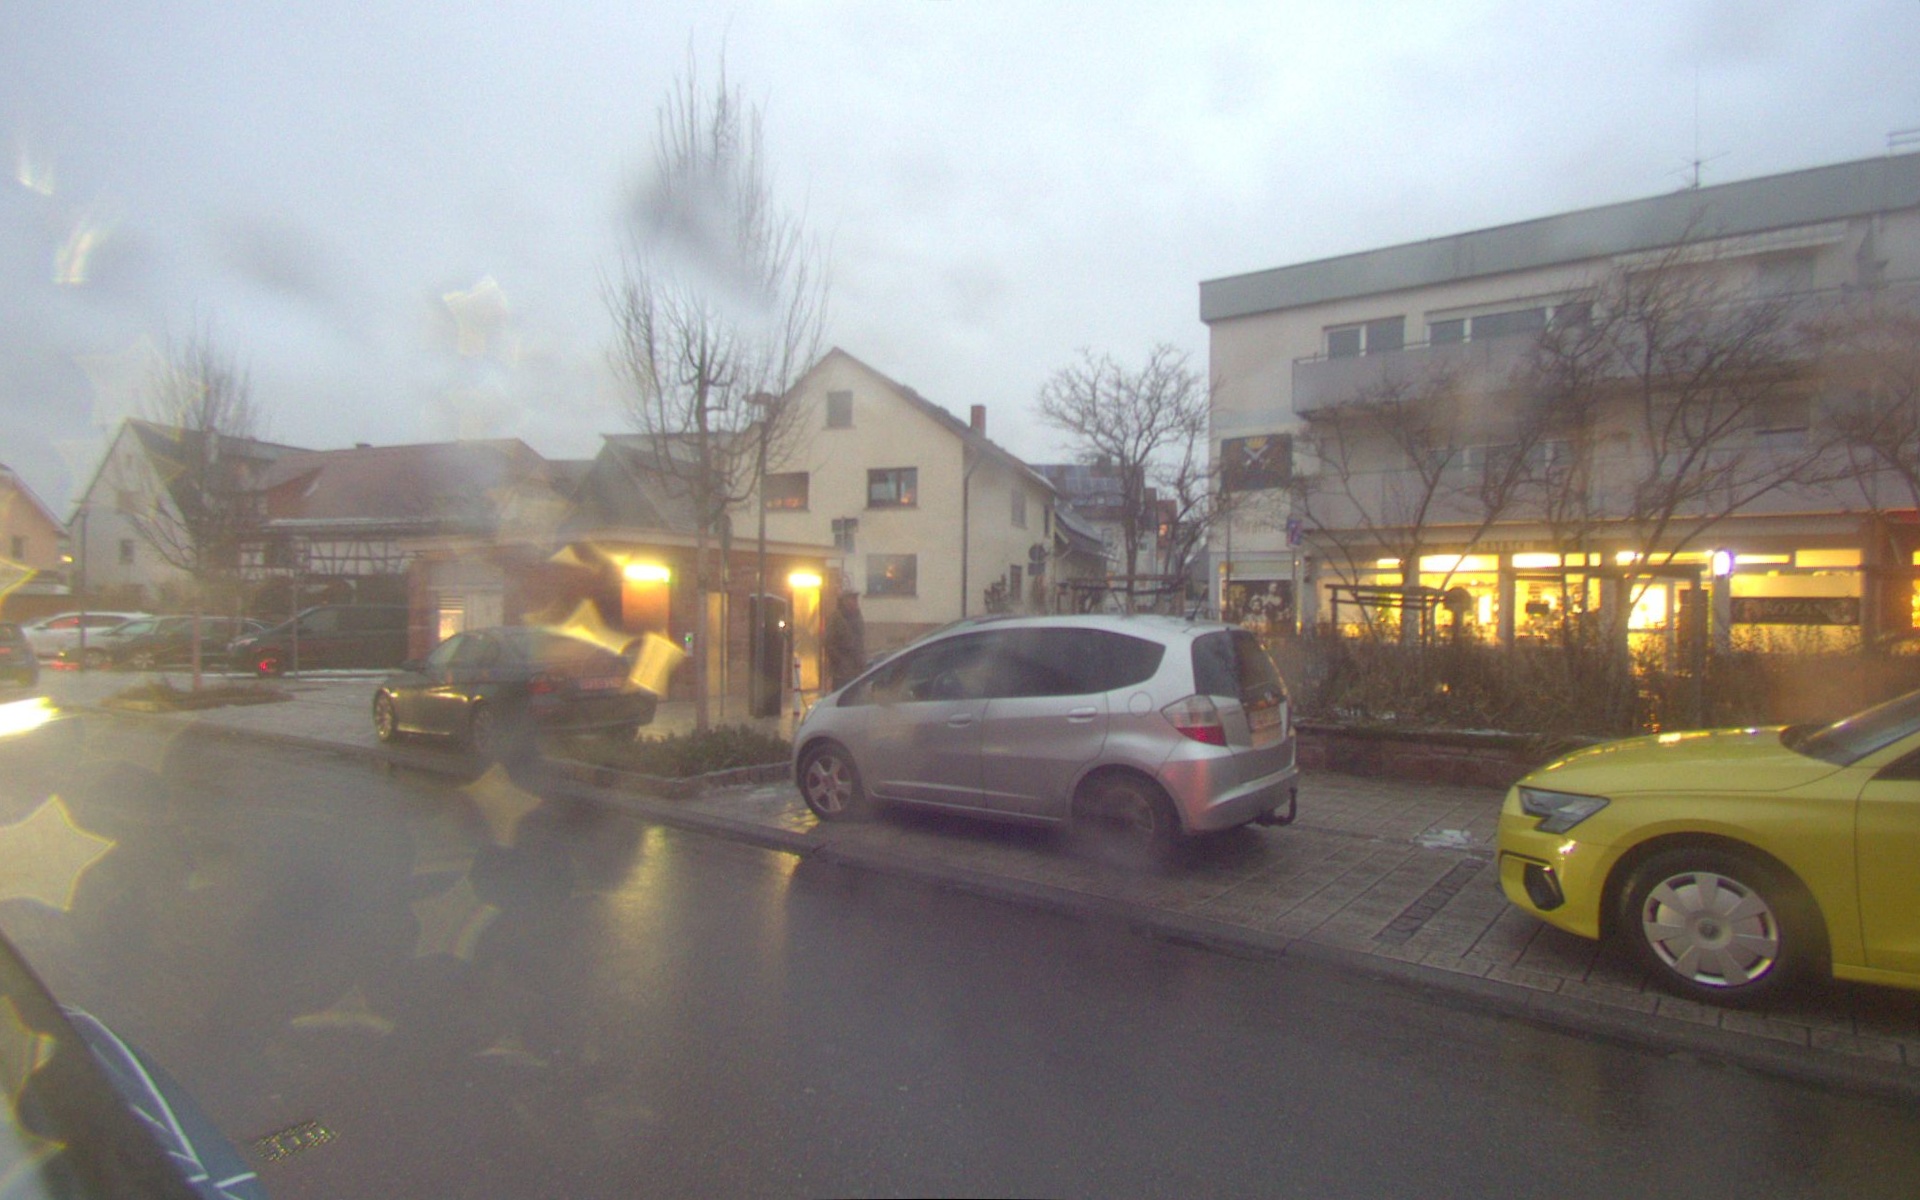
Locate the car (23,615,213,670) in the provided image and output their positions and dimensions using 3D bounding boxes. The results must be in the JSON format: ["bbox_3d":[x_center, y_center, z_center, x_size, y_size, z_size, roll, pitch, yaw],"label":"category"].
[{"bbox_3d":[-27.239,1.329,32.893,4.583,1.666,1.991,2,-2,-41],"label":"car"}]

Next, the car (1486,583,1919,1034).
[{"bbox_3d":[4.454,0.689,3.535,4.341,1.528,1.730,-1,0,42],"label":"car"}]

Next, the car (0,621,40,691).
[{"bbox_3d":[-23.047,1.277,23.165,3.658,1.547,1.822,-1,-1,28],"label":"car"}]

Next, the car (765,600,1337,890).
[{"bbox_3d":[0.506,0.798,7.231,3.768,1.528,1.676,-1,0,38],"label":"car"}]

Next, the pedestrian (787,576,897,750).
[{"bbox_3d":[-1.353,0.695,11.599,1.060,1.881,0.746,-1,-2,41],"label":"pedestrian"}]

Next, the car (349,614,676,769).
[{"bbox_3d":[-5.435,0.942,12.019,4.454,1.483,1.729,-1,0,39],"label":"car"}]

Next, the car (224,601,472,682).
[{"bbox_3d":[-15.800,1.087,26.360,5.307,1.900,2.079,2,-3,-34],"label":"car"}]

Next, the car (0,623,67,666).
[{"bbox_3d":[-33.942,1.557,35.325,1.758,1.470,4.015,-1,-2,44],"label":"car"}]

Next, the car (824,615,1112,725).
[{"bbox_3d":[0.148,1.019,15.384,4.018,1.488,1.745,2,-3,-26],"label":"car"}]

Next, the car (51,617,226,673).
[{"bbox_3d":[-25.121,1.370,31.056,4.049,1.594,1.723,2,-3,-41],"label":"car"}]

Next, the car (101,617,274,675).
[{"bbox_3d":[-22.548,1.301,29.710,3.934,1.541,2.004,0,-1,-37],"label":"car"}]
